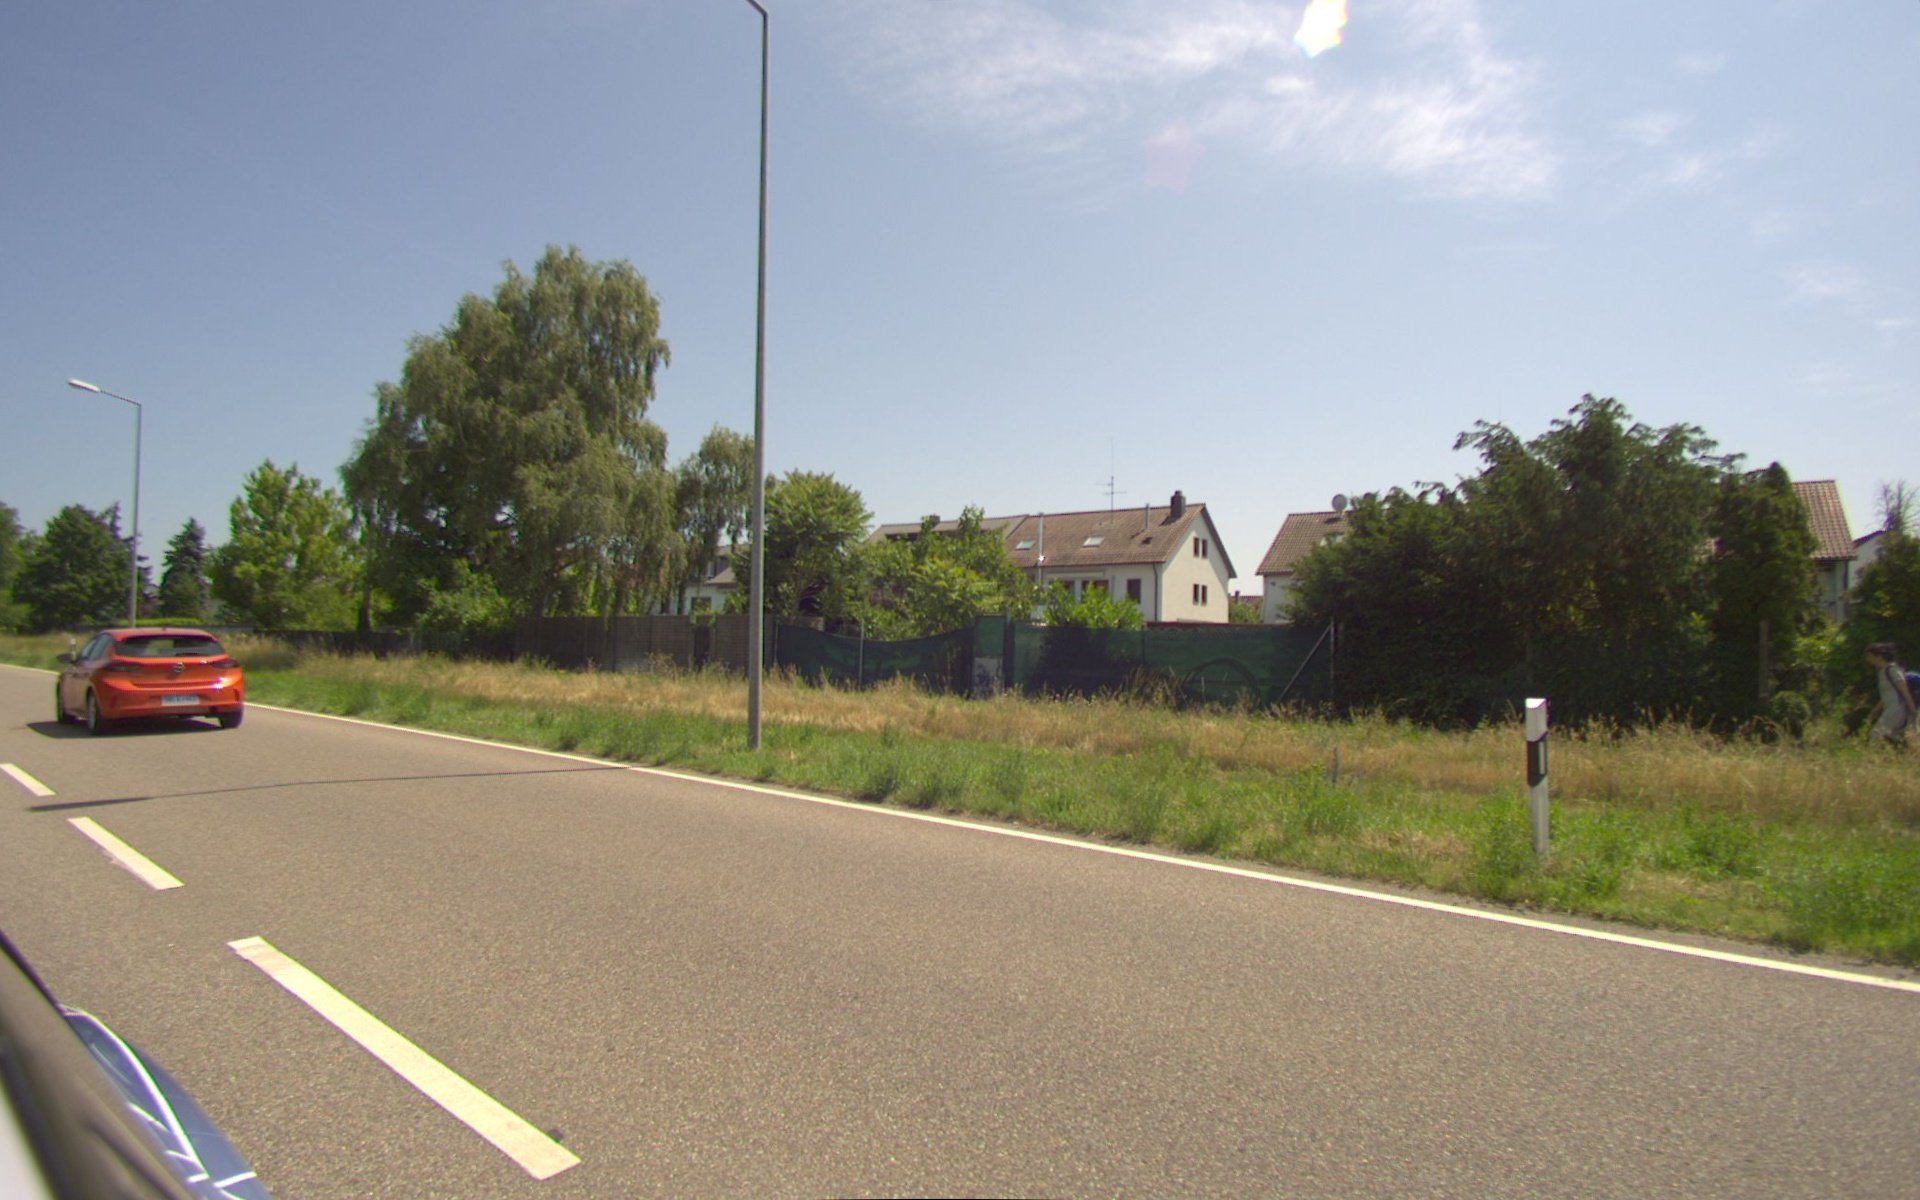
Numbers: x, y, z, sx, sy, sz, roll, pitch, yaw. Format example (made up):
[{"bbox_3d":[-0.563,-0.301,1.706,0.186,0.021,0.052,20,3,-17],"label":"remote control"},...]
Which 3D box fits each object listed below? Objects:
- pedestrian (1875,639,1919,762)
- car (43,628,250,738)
[{"bbox_3d":[10.924,1.130,11.445,0.798,1.365,0.575,-2,-3,41],"label":"pedestrian"},{"bbox_3d":[-12.007,1.123,14.855,3.998,1.409,1.662,-2,-3,41],"label":"car"}]
